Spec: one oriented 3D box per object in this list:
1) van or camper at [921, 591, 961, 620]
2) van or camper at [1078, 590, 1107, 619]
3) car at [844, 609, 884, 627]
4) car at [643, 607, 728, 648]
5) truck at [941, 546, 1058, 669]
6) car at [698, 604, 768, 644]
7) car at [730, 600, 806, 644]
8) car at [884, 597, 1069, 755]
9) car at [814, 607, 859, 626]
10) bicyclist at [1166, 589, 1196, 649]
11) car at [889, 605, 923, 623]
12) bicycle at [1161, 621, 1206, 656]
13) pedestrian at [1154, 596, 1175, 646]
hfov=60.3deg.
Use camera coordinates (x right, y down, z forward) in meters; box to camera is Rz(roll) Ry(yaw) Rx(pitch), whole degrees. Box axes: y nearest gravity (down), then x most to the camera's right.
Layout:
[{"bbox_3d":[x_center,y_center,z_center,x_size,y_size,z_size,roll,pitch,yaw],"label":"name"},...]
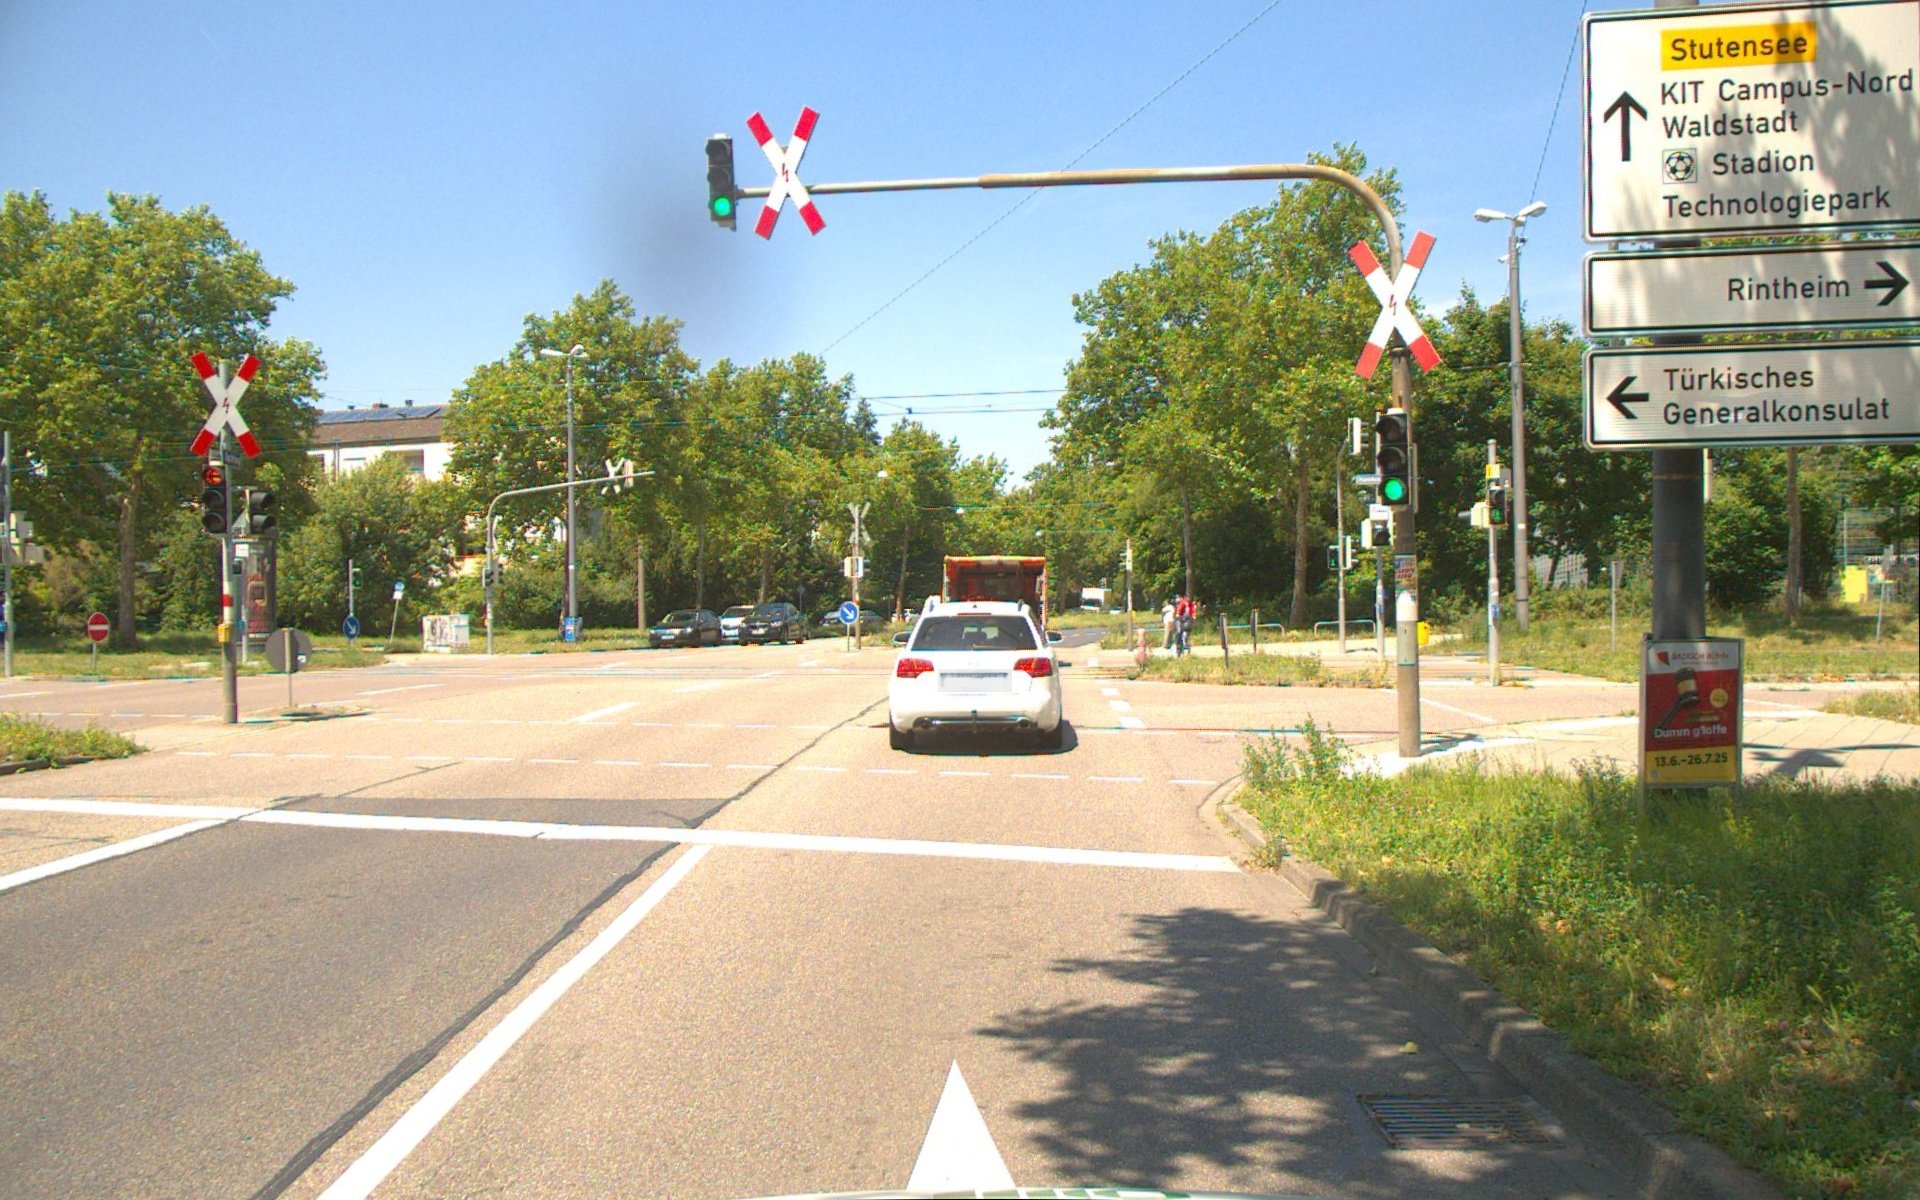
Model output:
[{"bbox_3d":[-1.771,0.511,153.674,2.136,2.633,5.311,-1,0,17],"label":"van or camper"},{"bbox_3d":[15.391,0.517,191.815,2.604,3.389,5.505,-1,0,11],"label":"van or camper"},{"bbox_3d":[-7.839,1.496,135.327,1.843,1.400,4.000,-1,0,21],"label":"car"},{"bbox_3d":[-10.597,1.038,64.134,1.907,1.465,4.750,-1,0,8],"label":"car"},{"bbox_3d":[0.842,0.187,39.052,2.459,2.604,7.602,1,0,0],"label":"truck"},{"bbox_3d":[-9.741,1.014,71.228,1.749,1.643,4.408,-1,0,9],"label":"car"},{"bbox_3d":[-7.335,0.817,63.576,1.868,1.566,4.302,-1,0,8],"label":"car"},{"bbox_3d":[0.190,0.706,17.297,1.726,1.470,3.616,0,0,1],"label":"car"},{"bbox_3d":[-9.701,1.284,129.894,1.843,1.417,3.999,-1,0,23],"label":"car"},{"bbox_3d":[5.928,0.502,44.366,0.568,1.583,0.671,-1,0,-13],"label":"bicyclist"},{"bbox_3d":[-4.716,1.191,144.977,1.842,1.500,4.002,-1,0,17],"label":"car"},{"bbox_3d":[5.965,1.015,44.251,0.577,0.911,1.805,-1,0,-13],"label":"bicycle"},{"bbox_3d":[6.182,0.633,49.911,0.541,1.510,0.630,-1,0,13],"label":"pedestrian"}]
